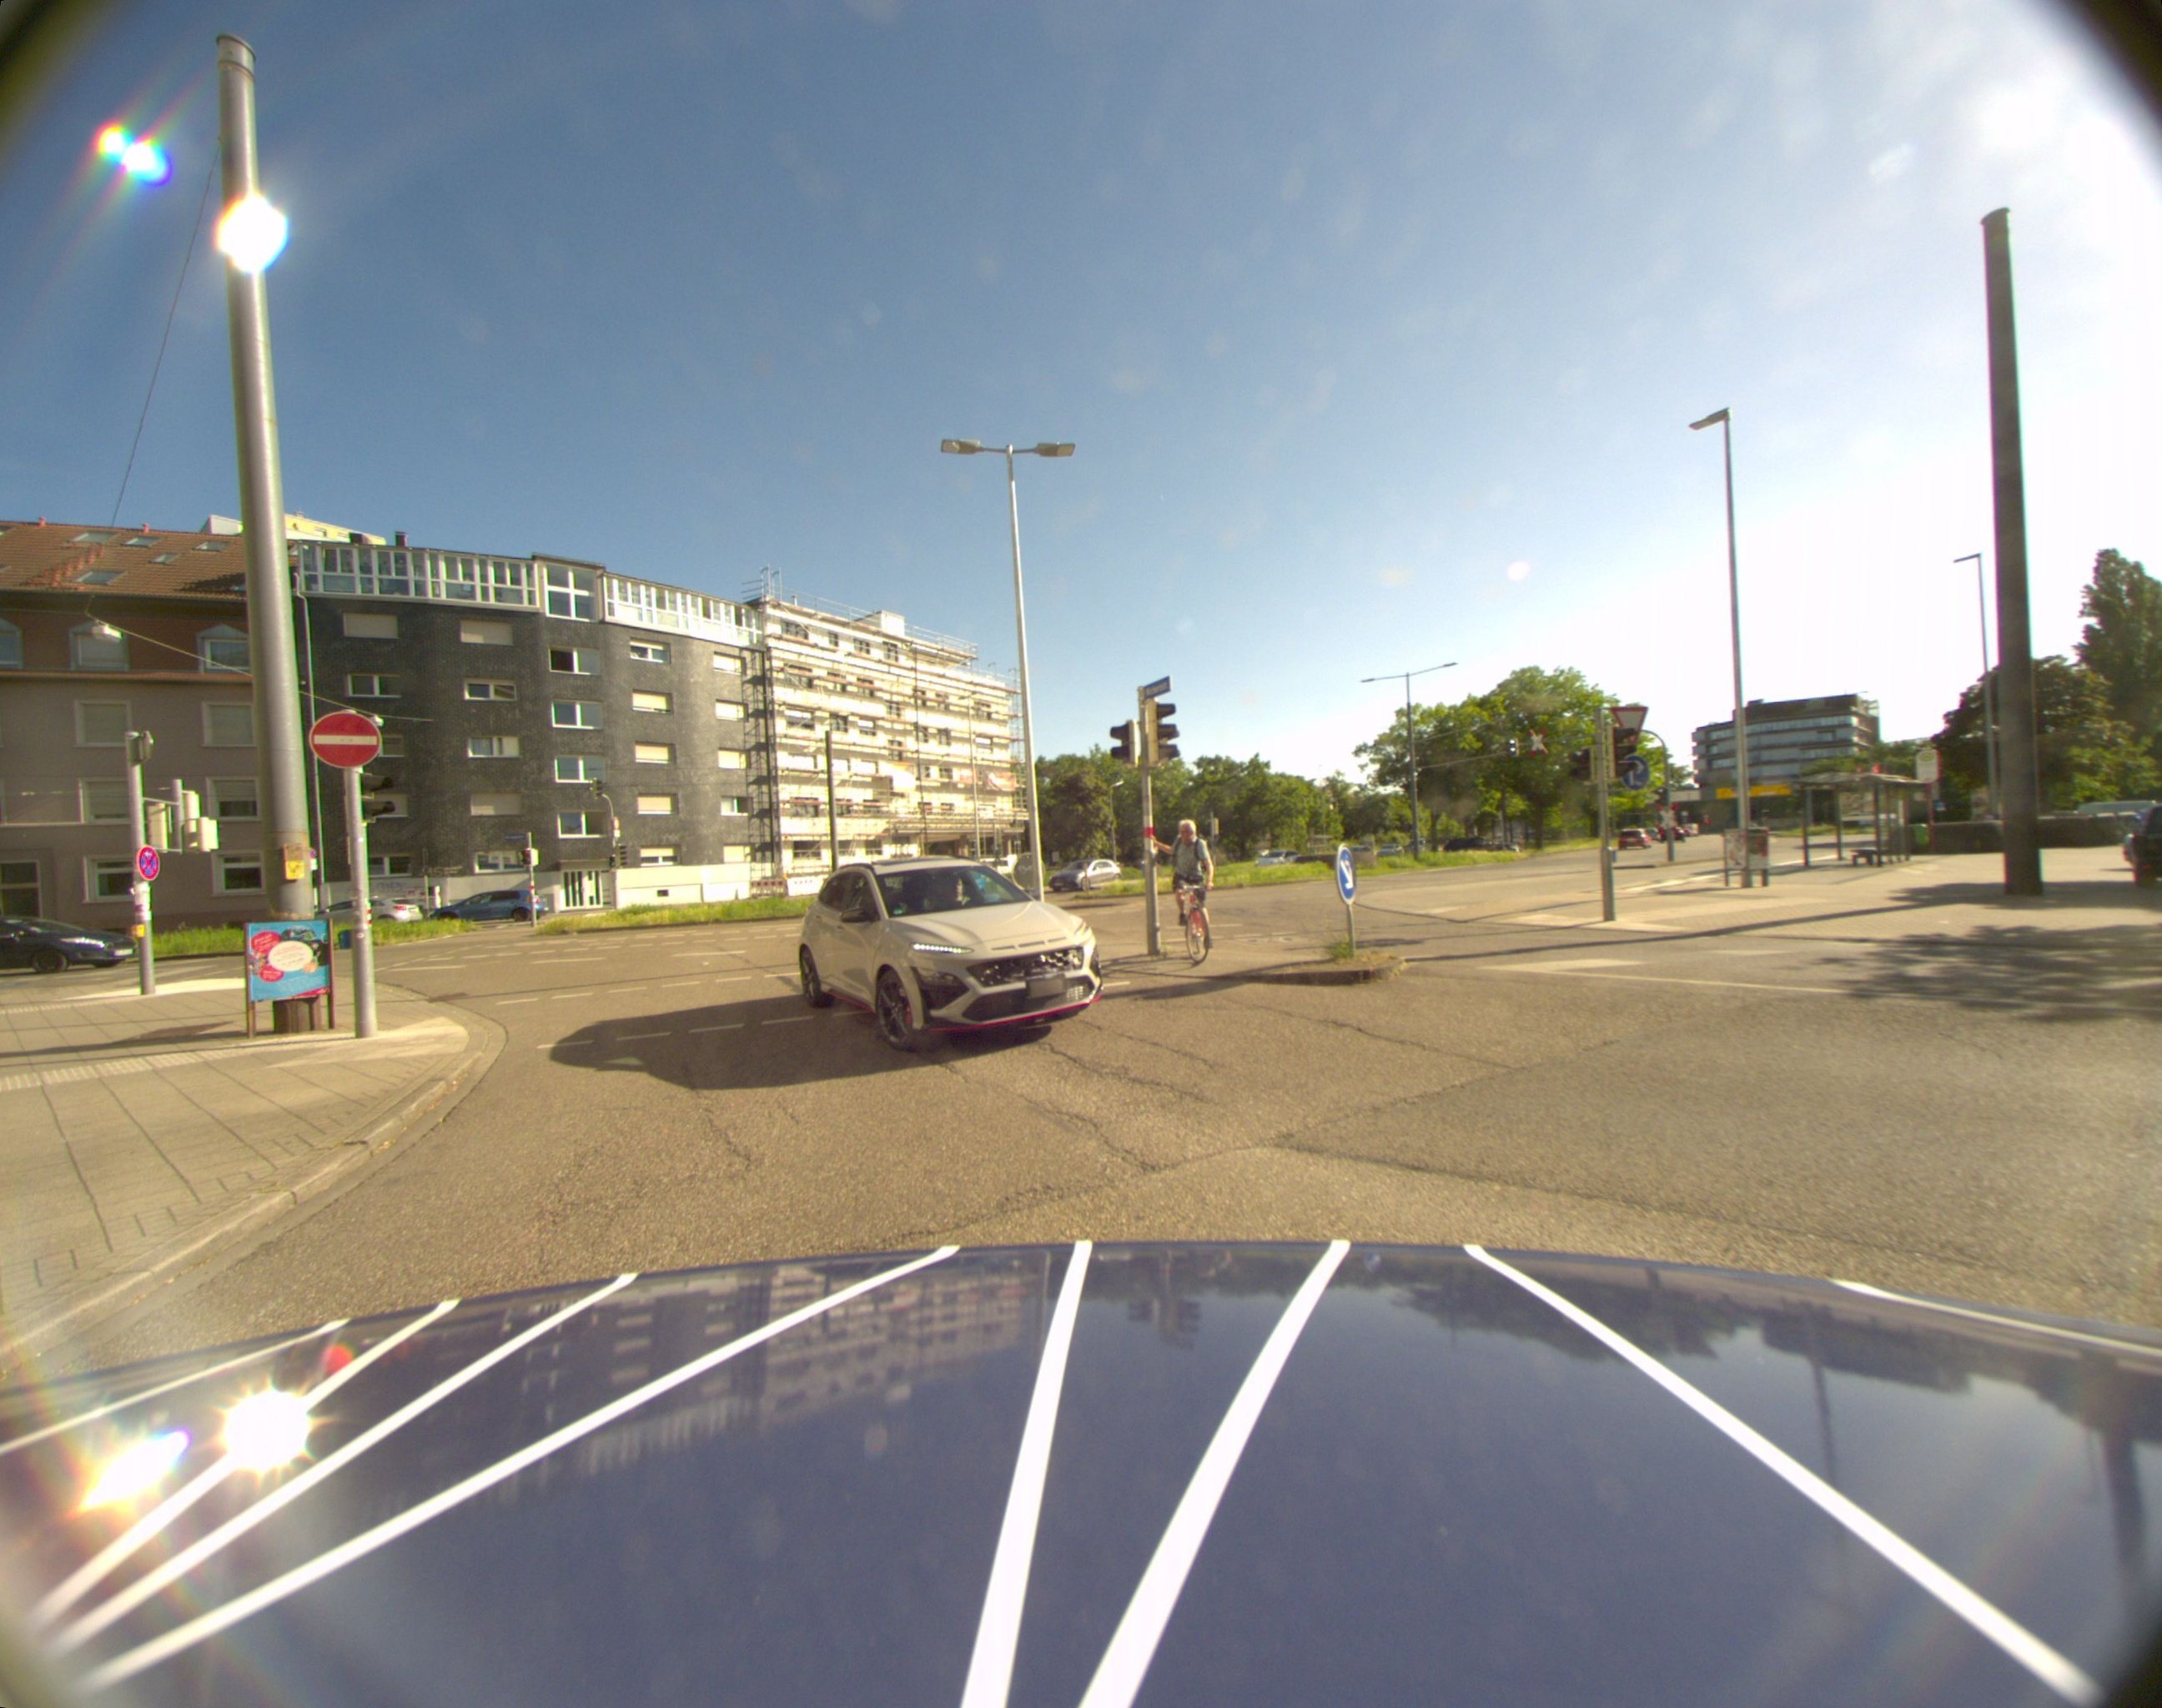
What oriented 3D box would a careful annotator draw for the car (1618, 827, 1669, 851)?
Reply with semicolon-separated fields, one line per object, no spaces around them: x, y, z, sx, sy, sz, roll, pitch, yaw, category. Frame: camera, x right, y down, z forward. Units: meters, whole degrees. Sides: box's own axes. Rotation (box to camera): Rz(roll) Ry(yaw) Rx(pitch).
41.411;-1.115;55.934;4.493;1.543;1.995;-3;0;-40;car

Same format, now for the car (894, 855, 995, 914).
-4.547;0.970;26.094;1.871;1.765;4.488;-3;0;10;car

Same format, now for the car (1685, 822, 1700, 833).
117.318;-5.120;145.789;1.995;2.002;4.007;-2;0;35;car

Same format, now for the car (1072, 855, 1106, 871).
0.939;0.997;84.411;1.817;1.574;3.692;-2;0;37;car

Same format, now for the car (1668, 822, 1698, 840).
55.123;-2.093;69.645;1.995;1.543;4.493;-3;0;37;car

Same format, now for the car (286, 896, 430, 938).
-30.294;2.602;31.969;4.003;1.407;1.686;-3;0;-19;car

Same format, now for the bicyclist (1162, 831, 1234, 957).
1.497;0.507;9.826;0.827;1.555;0.596;-3;1;6;bicyclist

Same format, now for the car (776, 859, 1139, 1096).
-1.562;0.919;7.613;1.908;1.543;4.474;-3;0;-33;car

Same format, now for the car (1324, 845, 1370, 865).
21.781;0.047;62.036;1.869;1.447;4.493;-3;0;42;car

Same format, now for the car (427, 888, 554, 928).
-25.902;2.354;33.478;4.003;1.407;1.686;-3;0;-19;car

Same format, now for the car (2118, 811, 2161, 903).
19.584;-0.057;12.930;3.601;1.498;1.681;-3;-2;-28;car

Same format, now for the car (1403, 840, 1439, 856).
33.788;-0.609;75.383;1.869;1.447;4.493;-3;0;42;car

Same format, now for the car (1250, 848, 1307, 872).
13.774;0.410;52.783;1.869;1.447;4.493;-3;0;42;car

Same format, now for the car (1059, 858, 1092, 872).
-0.566;1.258;86.116;1.817;1.386;3.692;-3;0;37;car

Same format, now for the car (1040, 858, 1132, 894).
0.305;1.033;36.750;1.869;1.447;4.493;-3;0;41;car

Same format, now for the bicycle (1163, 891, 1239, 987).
1.488;1.027;9.696;0.828;0.981;1.947;-3;0;7;bicycle

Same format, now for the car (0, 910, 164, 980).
-25.666;2.254;18.447;4.002;1.444;1.732;-3;-1;-17;car

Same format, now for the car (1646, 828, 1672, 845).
60.779;-1.881;79.972;1.995;1.652;4.493;-3;0;35;car

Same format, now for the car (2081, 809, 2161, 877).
25.582;-0.301;17.992;3.601;1.499;1.680;-3;0;-28;car
